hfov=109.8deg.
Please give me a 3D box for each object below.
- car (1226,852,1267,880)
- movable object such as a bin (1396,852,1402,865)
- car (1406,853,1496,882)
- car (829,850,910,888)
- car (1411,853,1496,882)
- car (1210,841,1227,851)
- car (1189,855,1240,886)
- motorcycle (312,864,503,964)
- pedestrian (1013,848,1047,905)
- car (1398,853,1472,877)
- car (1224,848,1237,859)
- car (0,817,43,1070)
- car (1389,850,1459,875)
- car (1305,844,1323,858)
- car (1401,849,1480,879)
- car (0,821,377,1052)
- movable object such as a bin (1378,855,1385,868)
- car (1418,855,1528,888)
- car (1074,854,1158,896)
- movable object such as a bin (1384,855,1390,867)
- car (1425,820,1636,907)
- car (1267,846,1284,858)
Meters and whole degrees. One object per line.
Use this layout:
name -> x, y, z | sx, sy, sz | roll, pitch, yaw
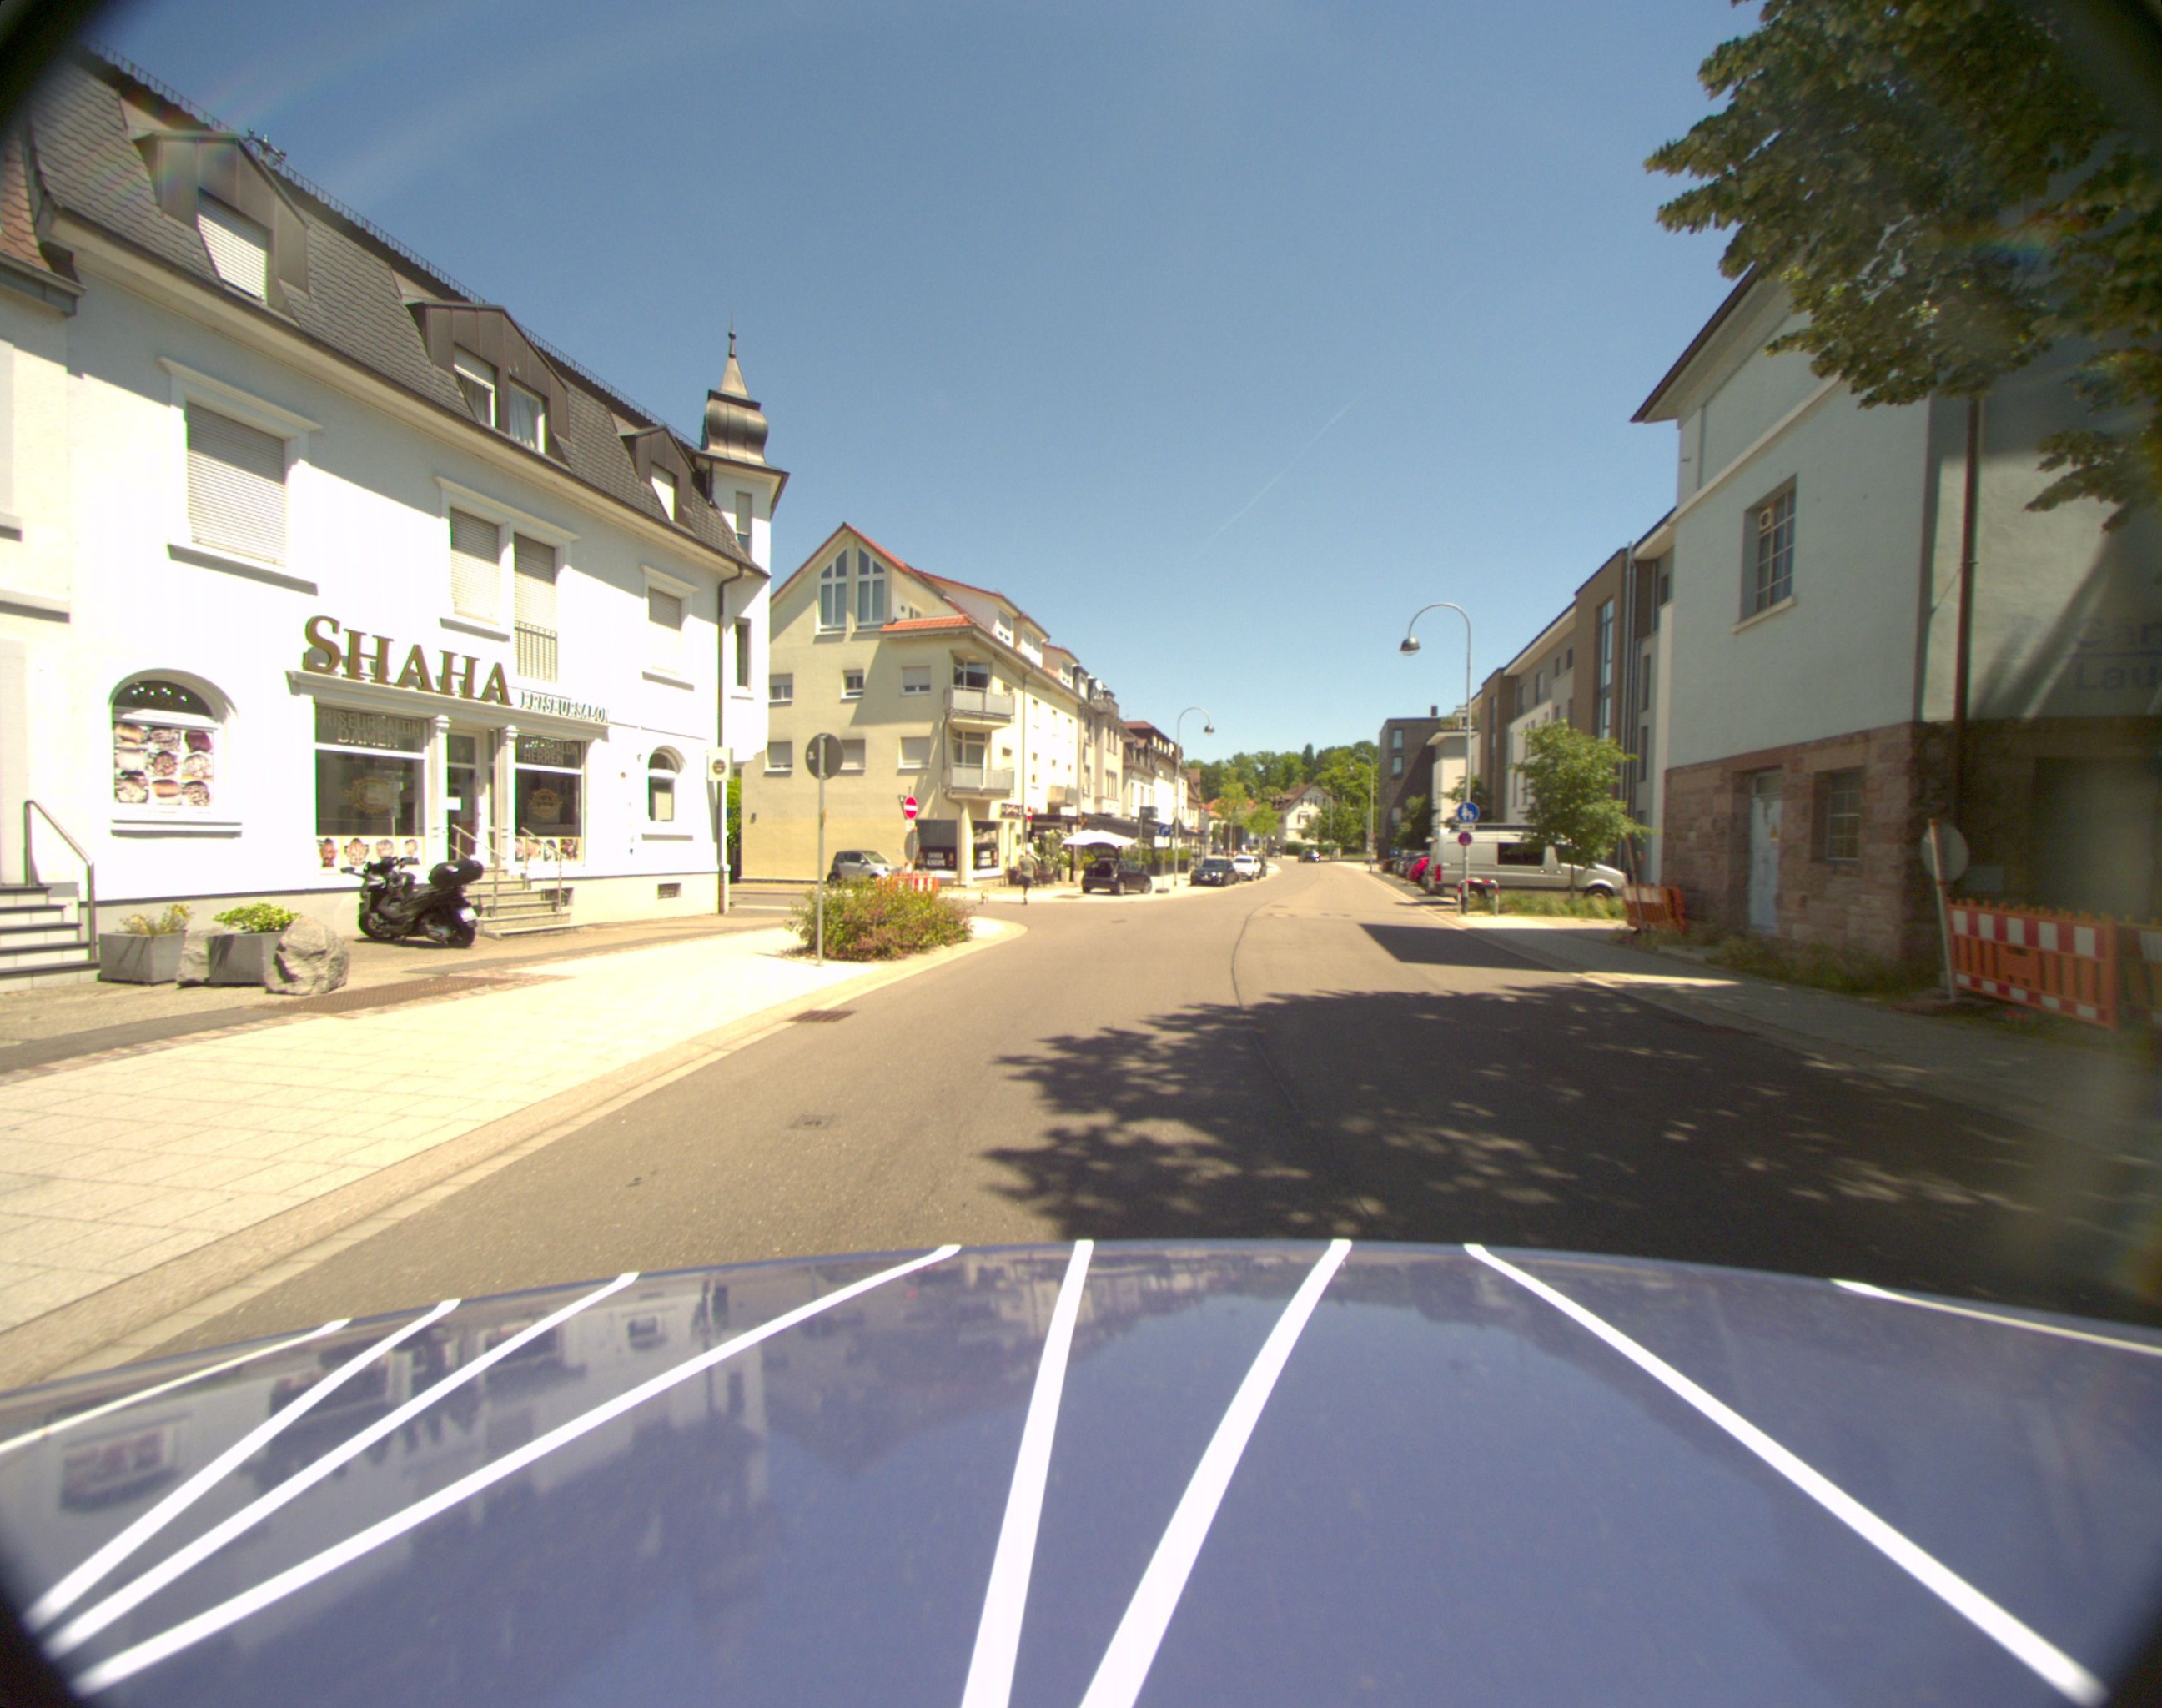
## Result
car -> 10.426, 0.703, 47.732 | 1.738, 1.478, 4.060 | 3, 3, 23
movable object such as a bin -> 25.771, 0.376, 61.576 | 0.403, 0.992, 0.556 | 1, 2, 16
car -> 19.286, 0.693, 39.776 | 4.036, 1.422, 2.002 | -1, 1, 20
car -> -8.577, 0.603, 30.838 | 2.730, 1.463, 1.532 | 0, 2, 17
car -> 20.538, 0.736, 42.088 | 4.036, 1.488, 2.002 | -1, 1, 20
car -> 22.565, -1.397, 124.837 | 1.734, 1.465, 4.321 | 2, 2, -2
car -> 7.180, 0.833, 40.479 | 1.725, 1.397, 4.615 | 2, 2, 21
motorcycle -> -9.437, 0.793, 10.655 | 2.379, 1.268, 0.857 | 0, 1, 17
pedestrian -> -1.638, 0.720, 24.479 | 0.746, 1.786, 0.845 | 1, 0, 25
car -> 21.928, 0.690, 47.250 | 3.991, 1.413, 1.912 | -1, 1, 18
car -> 22.029, -0.070, 111.795 | 1.681, 1.505, 3.390 | 0, 1, 13
car -> -9.453, 0.642, 4.923 | 4.080, 1.706, 1.858 | -1, 1, 16
car -> 22.485, 0.545, 49.956 | 3.991, 1.507, 2.002 | -1, 1, 19
car -> 26.975, -0.354, 87.895 | 1.896, 1.544, 4.804 | 0, 0, 16
car -> 21.138, 0.575, 44.848 | 4.036, 1.642, 2.002 | -1, 1, 20
car -> -9.094, 0.611, 7.048 | 4.080, 1.706, 1.858 | -1, 1, 16
movable object such as a bin -> 24.485, 0.600, 61.951 | 0.483, 0.992, 0.588 | 1, 2, 16
car -> 18.068, 0.796, 35.205 | 4.206, 1.429, 1.887 | -1, 1, 13
car -> 1.508, 0.813, 30.869 | 1.873, 1.483, 3.868 | 3, 2, 28
movable object such as a bin -> 24.950, 0.579, 61.875 | 0.403, 0.992, 0.556 | 1, 2, 16
car -> 14.926, 0.315, 25.683 | 5.774, 2.717, 2.294 | -1, 1, 18
car -> 28.243, -0.299, 110.614 | 1.814, 1.691, 4.077 | 0, 1, 6
